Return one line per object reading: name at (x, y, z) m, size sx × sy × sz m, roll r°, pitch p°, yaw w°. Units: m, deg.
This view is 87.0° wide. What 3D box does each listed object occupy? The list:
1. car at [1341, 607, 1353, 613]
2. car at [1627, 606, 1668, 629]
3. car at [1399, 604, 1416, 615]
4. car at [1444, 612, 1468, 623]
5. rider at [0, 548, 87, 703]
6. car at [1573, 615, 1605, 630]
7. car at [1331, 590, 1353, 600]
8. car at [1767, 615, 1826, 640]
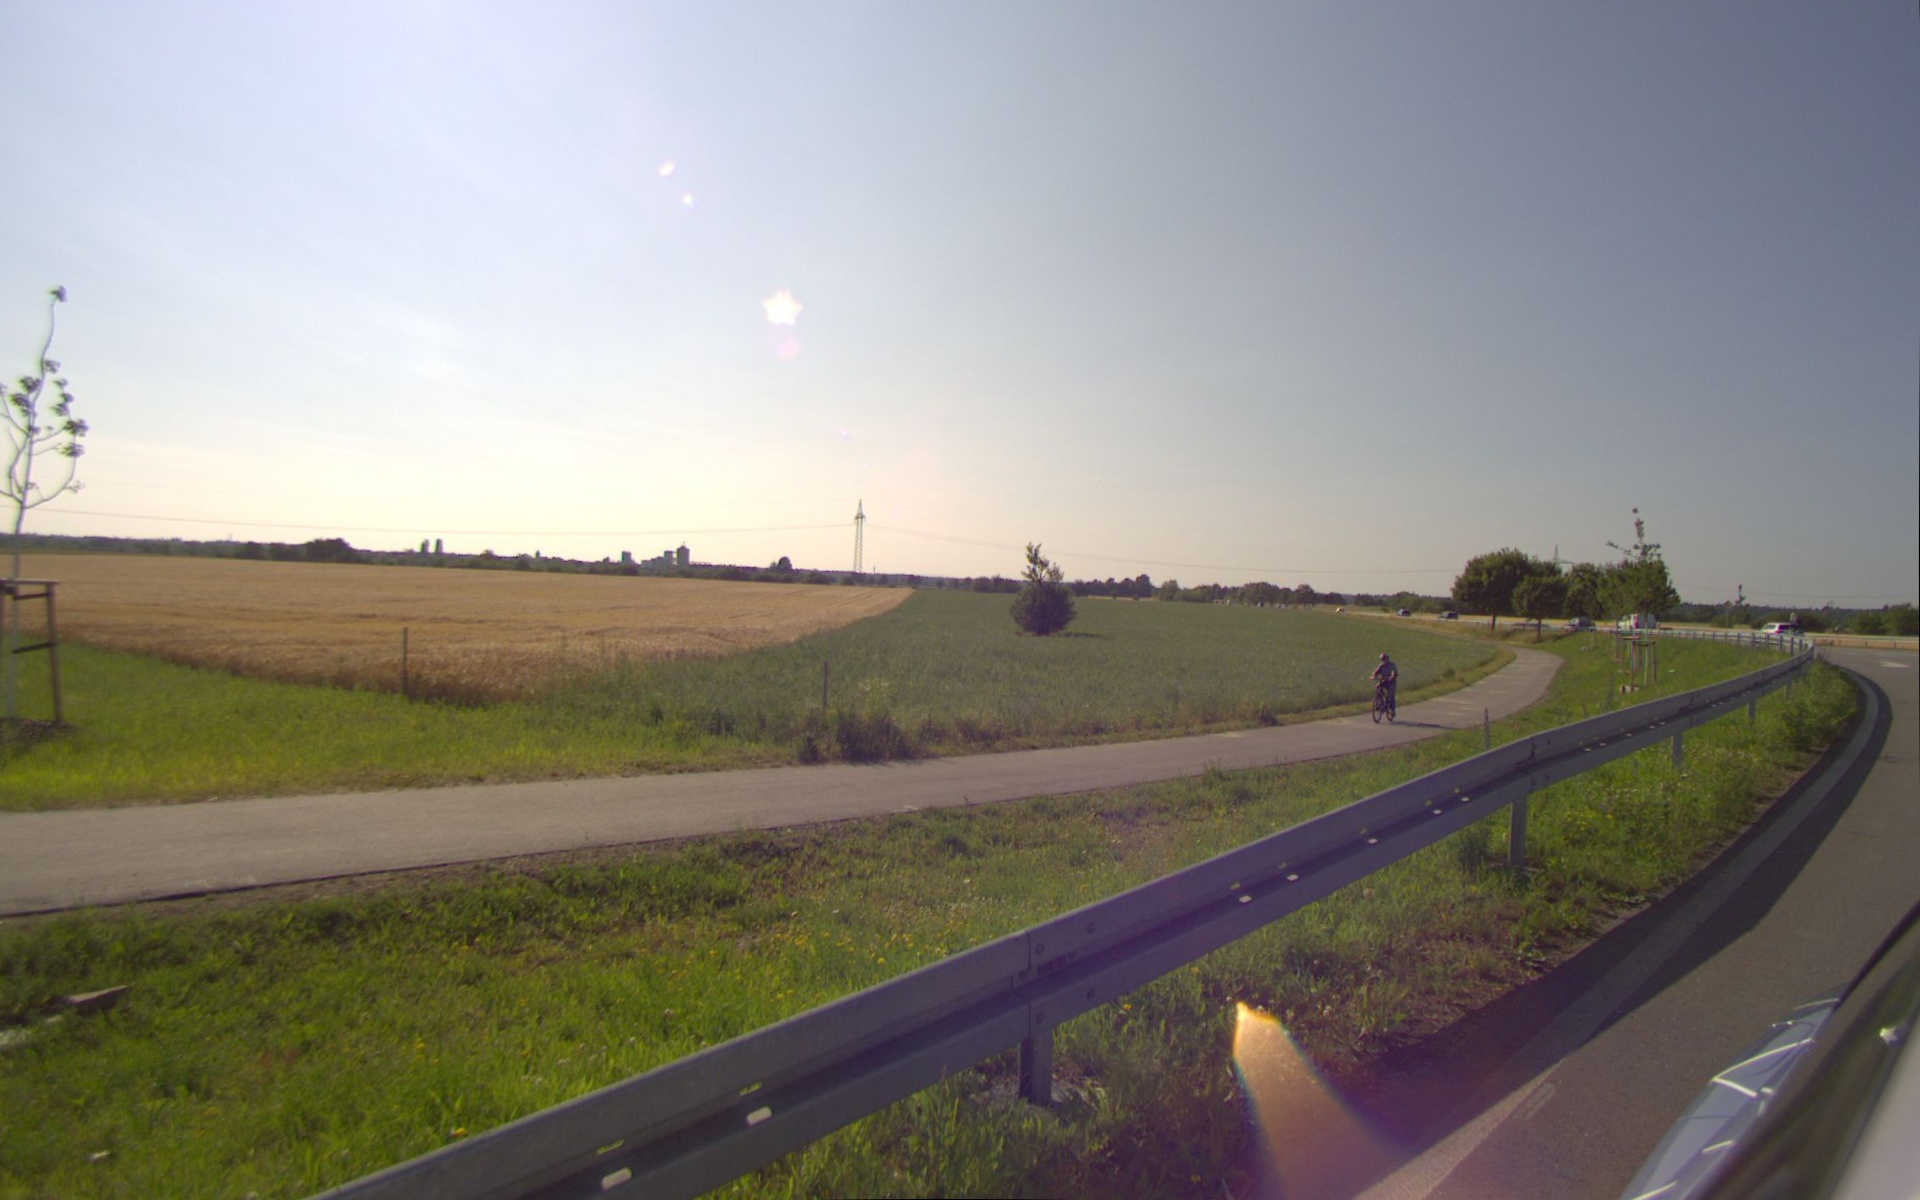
car at (88.634, 2.252, 231.955) m, size 1.829 × 1.467 × 4.142 m, roll 0°, pitch 0°, yaw 9°
car at (67.283, 1.742, 99.111) m, size 2.095 × 2.040 × 5.117 m, roll 1°, pitch -3°, yaw 20°
car at (80.350, 1.632, 181.682) m, size 1.860 × 1.820 × 5.073 m, roll 0°, pitch 1°, yaw 13°
car at (77.078, 2.660, 157.296) m, size 1.966 × 1.613 × 4.851 m, roll 1°, pitch -1°, yaw 8°
rider at (-10.672, 0.257, 11.355) m, size 0.806 × 1.663 × 0.990 m, roll 3°, pitch 0°, yaw 2°
car at (69.506, 2.536, 111.856) m, size 1.775 × 1.467 × 4.679 m, roll 1°, pitch -3°, yaw 16°
car at (79.031, -1.132, 209.434) m, size 2.769 × 2.039 × 6.090 m, roll 0°, pitch 0°, yaw 7°
car at (56.232, 1.866, 68.123) m, size 2.103 × 1.512 × 5.097 m, roll 0°, pitch -3°, yaw 29°
